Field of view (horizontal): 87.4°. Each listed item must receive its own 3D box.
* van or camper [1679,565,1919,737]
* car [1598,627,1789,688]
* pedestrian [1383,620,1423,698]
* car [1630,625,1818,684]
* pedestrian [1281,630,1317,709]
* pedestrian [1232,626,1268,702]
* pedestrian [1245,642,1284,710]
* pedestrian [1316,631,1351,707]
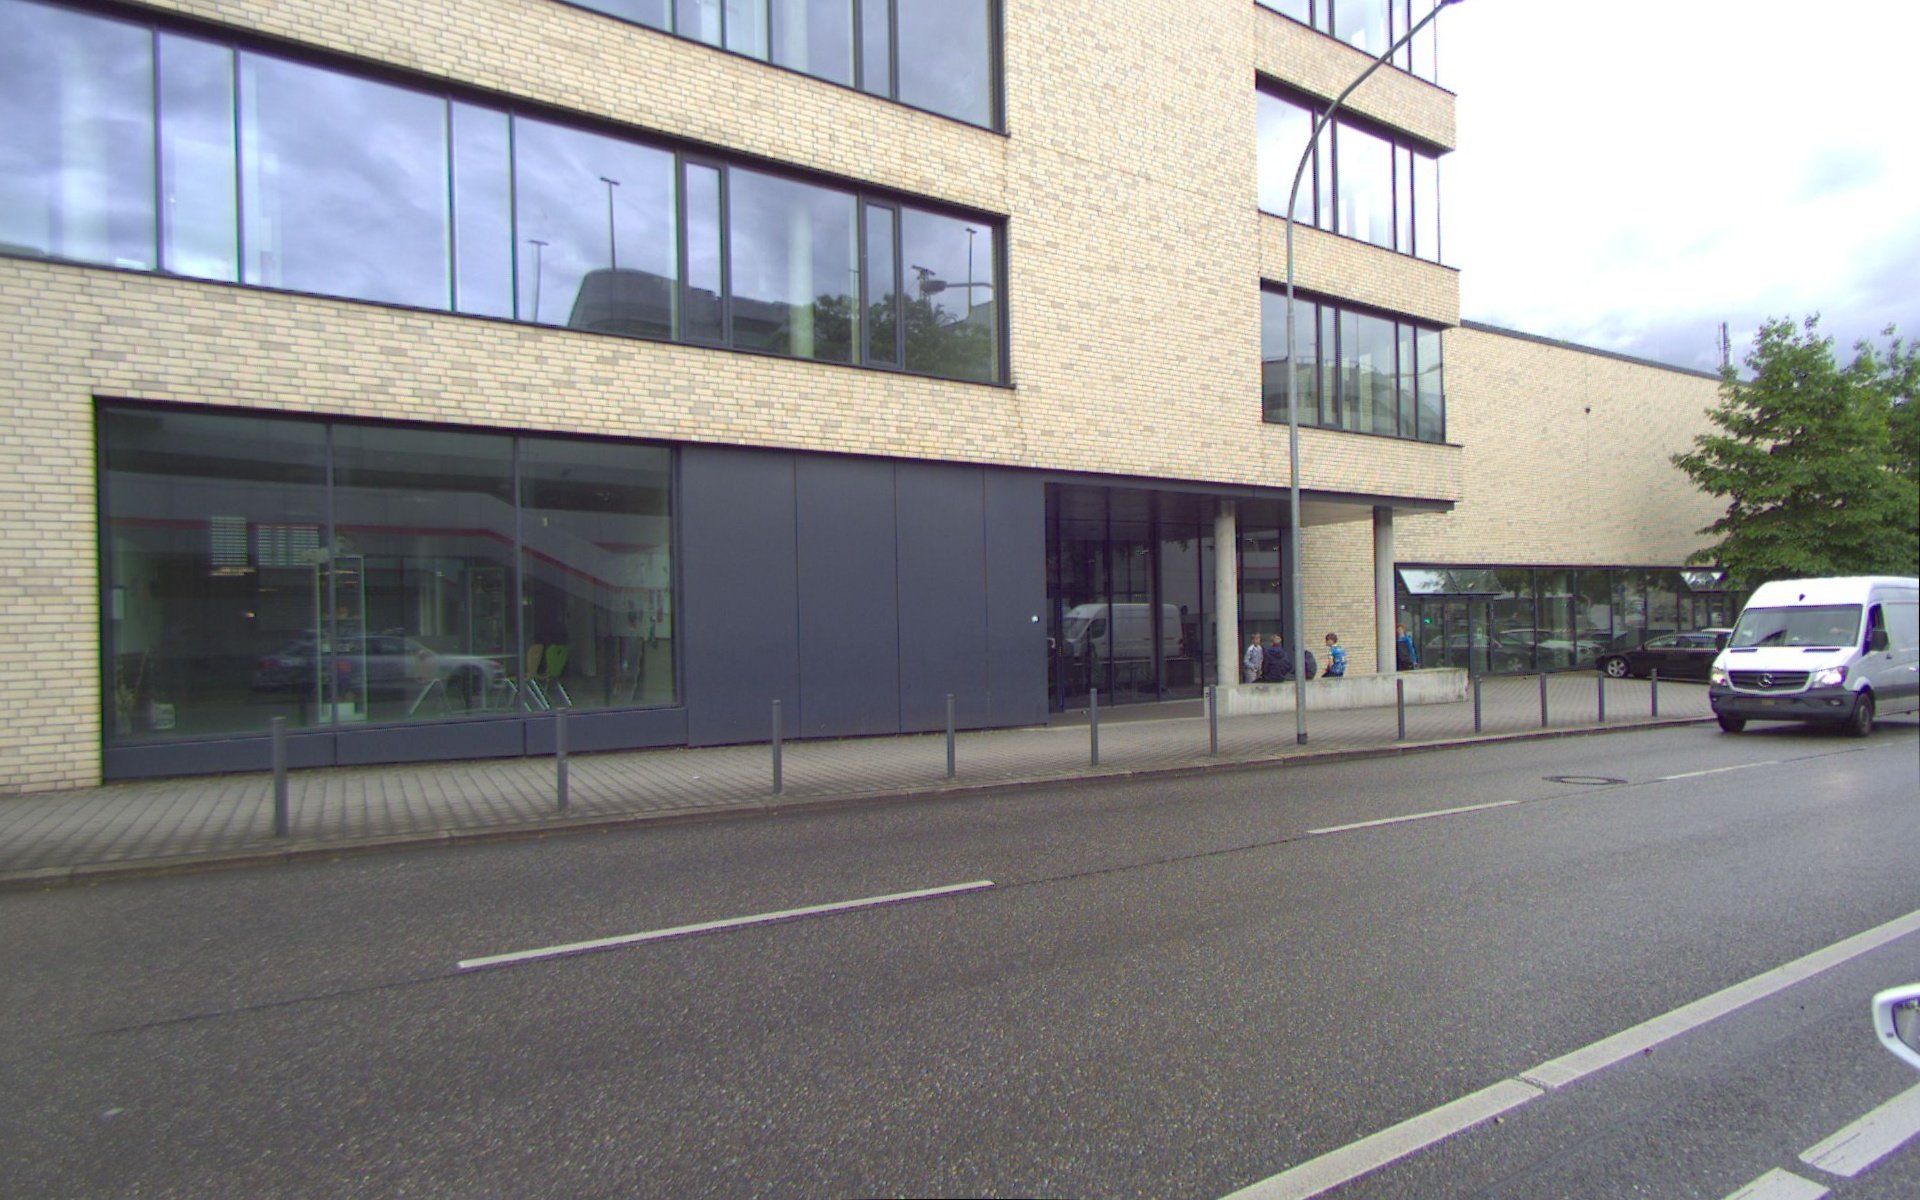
[{"bbox_3d":[15.362,0.886,17.792,5.841,2.616,2.092,1,-3,-31],"label":"van or camper"},{"bbox_3d":[21.546,1.651,29.661,1.981,1.515,4.147,2,0,-36],"label":"car"},{"bbox_3d":[10.284,1.357,23.337,0.627,1.737,0.701,2,0,42],"label":"pedestrian"},{"bbox_3d":[23.424,1.624,30.969,1.975,1.568,4.159,2,0,-28],"label":"car"},{"bbox_3d":[6.591,1.348,19.508,0.459,1.495,0.446,2,0,-35],"label":"pedestrian"},{"bbox_3d":[5.874,1.284,20.321,0.523,1.495,0.438,2,0,-35],"label":"pedestrian"},{"bbox_3d":[5.778,1.432,19.046,0.416,1.231,0.546,2,0,-27],"label":"pedestrian"},{"bbox_3d":[7.510,1.382,20.223,0.459,1.495,0.446,2,0,-35],"label":"pedestrian"}]
